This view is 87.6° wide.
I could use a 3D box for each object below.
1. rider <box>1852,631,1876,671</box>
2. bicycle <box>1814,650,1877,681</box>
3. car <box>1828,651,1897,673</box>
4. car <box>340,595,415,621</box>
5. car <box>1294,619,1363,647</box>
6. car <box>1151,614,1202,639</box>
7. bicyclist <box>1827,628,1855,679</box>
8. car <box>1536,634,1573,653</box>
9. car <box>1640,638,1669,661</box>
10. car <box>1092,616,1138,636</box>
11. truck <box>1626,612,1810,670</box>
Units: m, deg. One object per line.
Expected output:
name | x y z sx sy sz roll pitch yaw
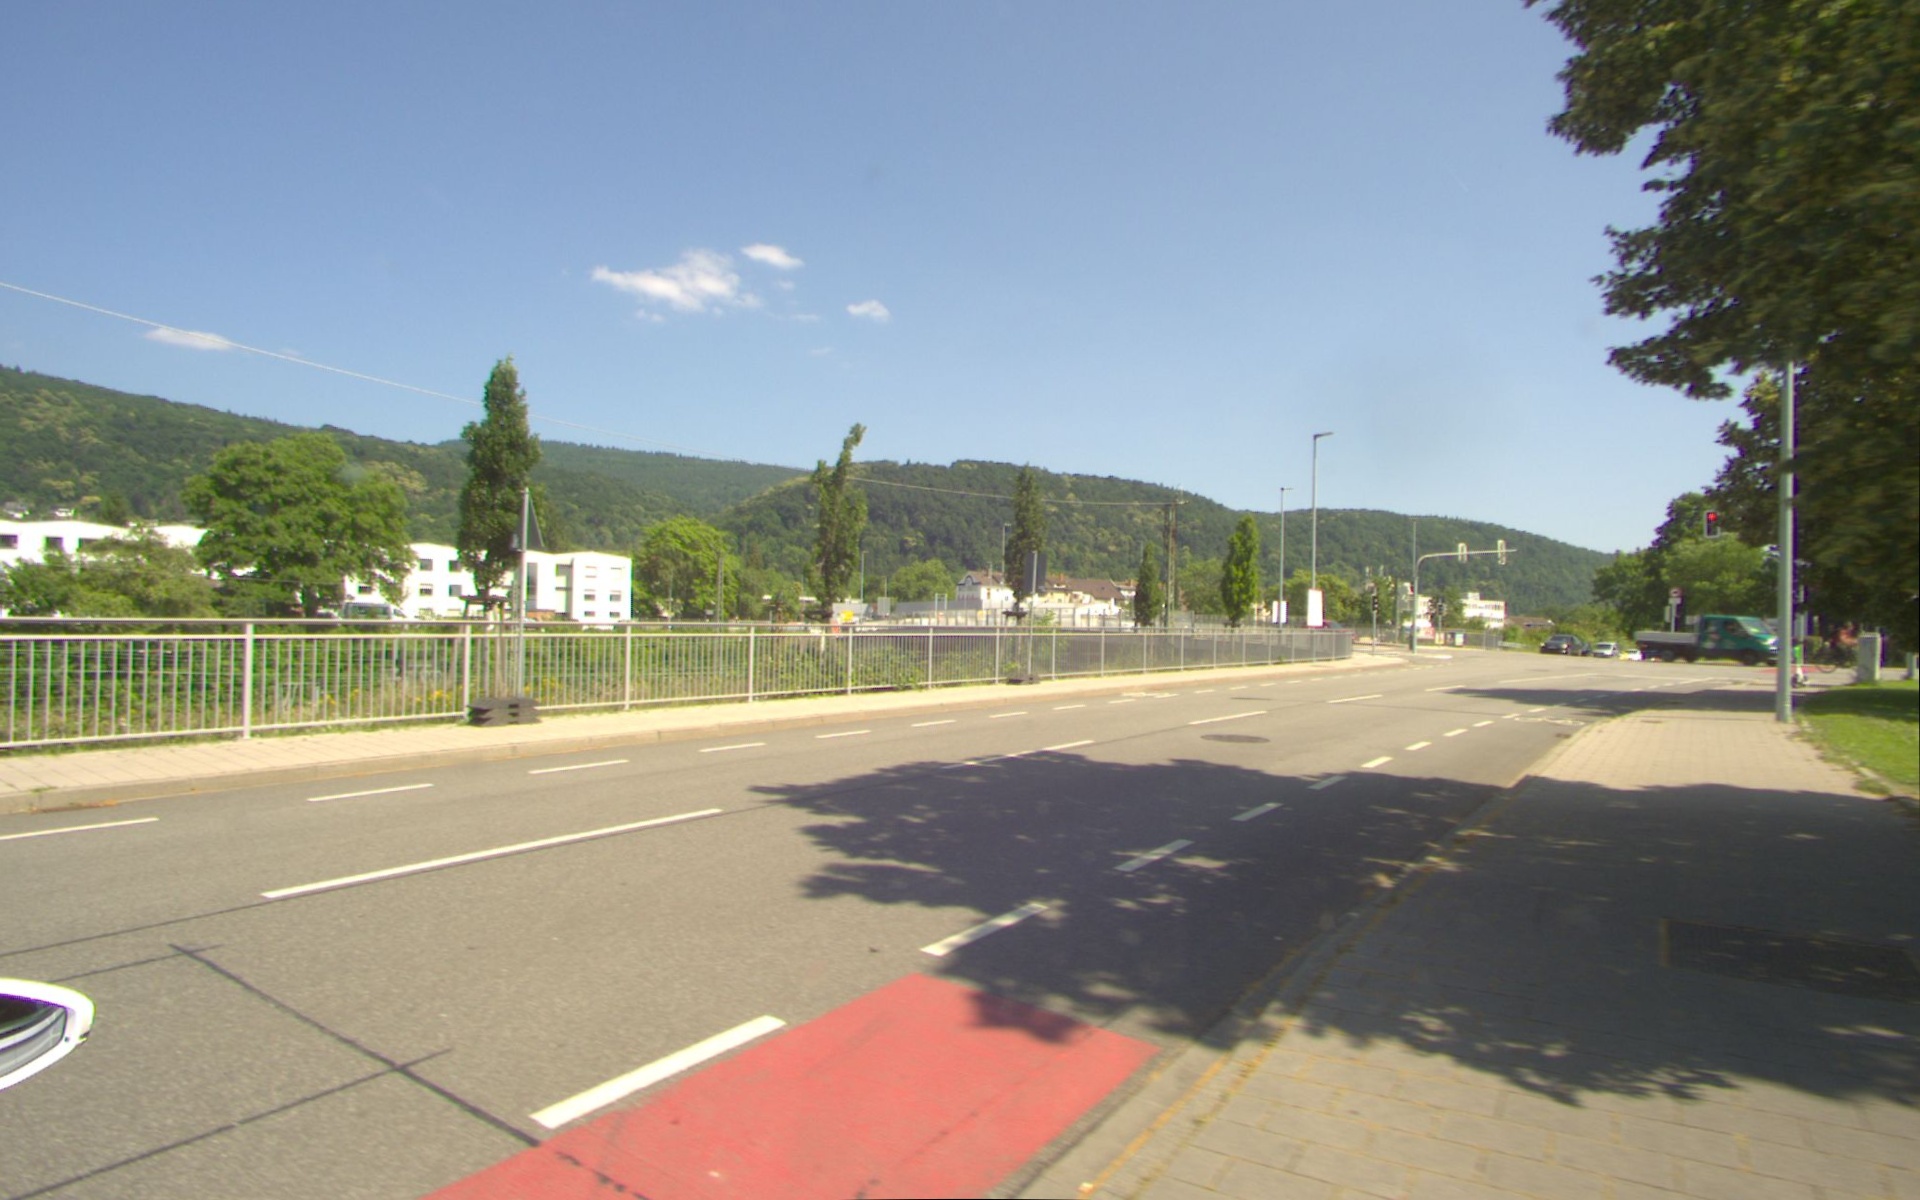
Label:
rider | 42.514 2.396 47.105 0.539 1.838 0.682 -2 1 -28
bicycle | 33.679 2.482 38.118 0.574 1.057 1.718 -2 1 -26
car | 42.494 2.904 47.158 0.567 0.914 2.372 -2 1 -27
car | -52.257 0.698 89.912 5.466 2.128 2.116 0 -4 -45
car | 25.185 2.230 68.612 1.804 1.701 4.349 -2 1 -29
car | 17.606 2.160 81.738 1.802 1.874 4.354 -2 1 -25
bicyclist | 33.626 2.034 38.210 0.544 1.922 0.654 -2 2 -27
car | 41.789 3.016 70.335 1.592 1.271 3.654 1 -1 41
car | 50.425 3.543 72.748 1.588 1.555 3.663 1 -1 33
car | 13.753 2.266 89.102 1.802 1.674 4.751 -2 1 -24
truck | 34.847 1.833 46.303 2.350 2.405 6.358 2 -1 -28
